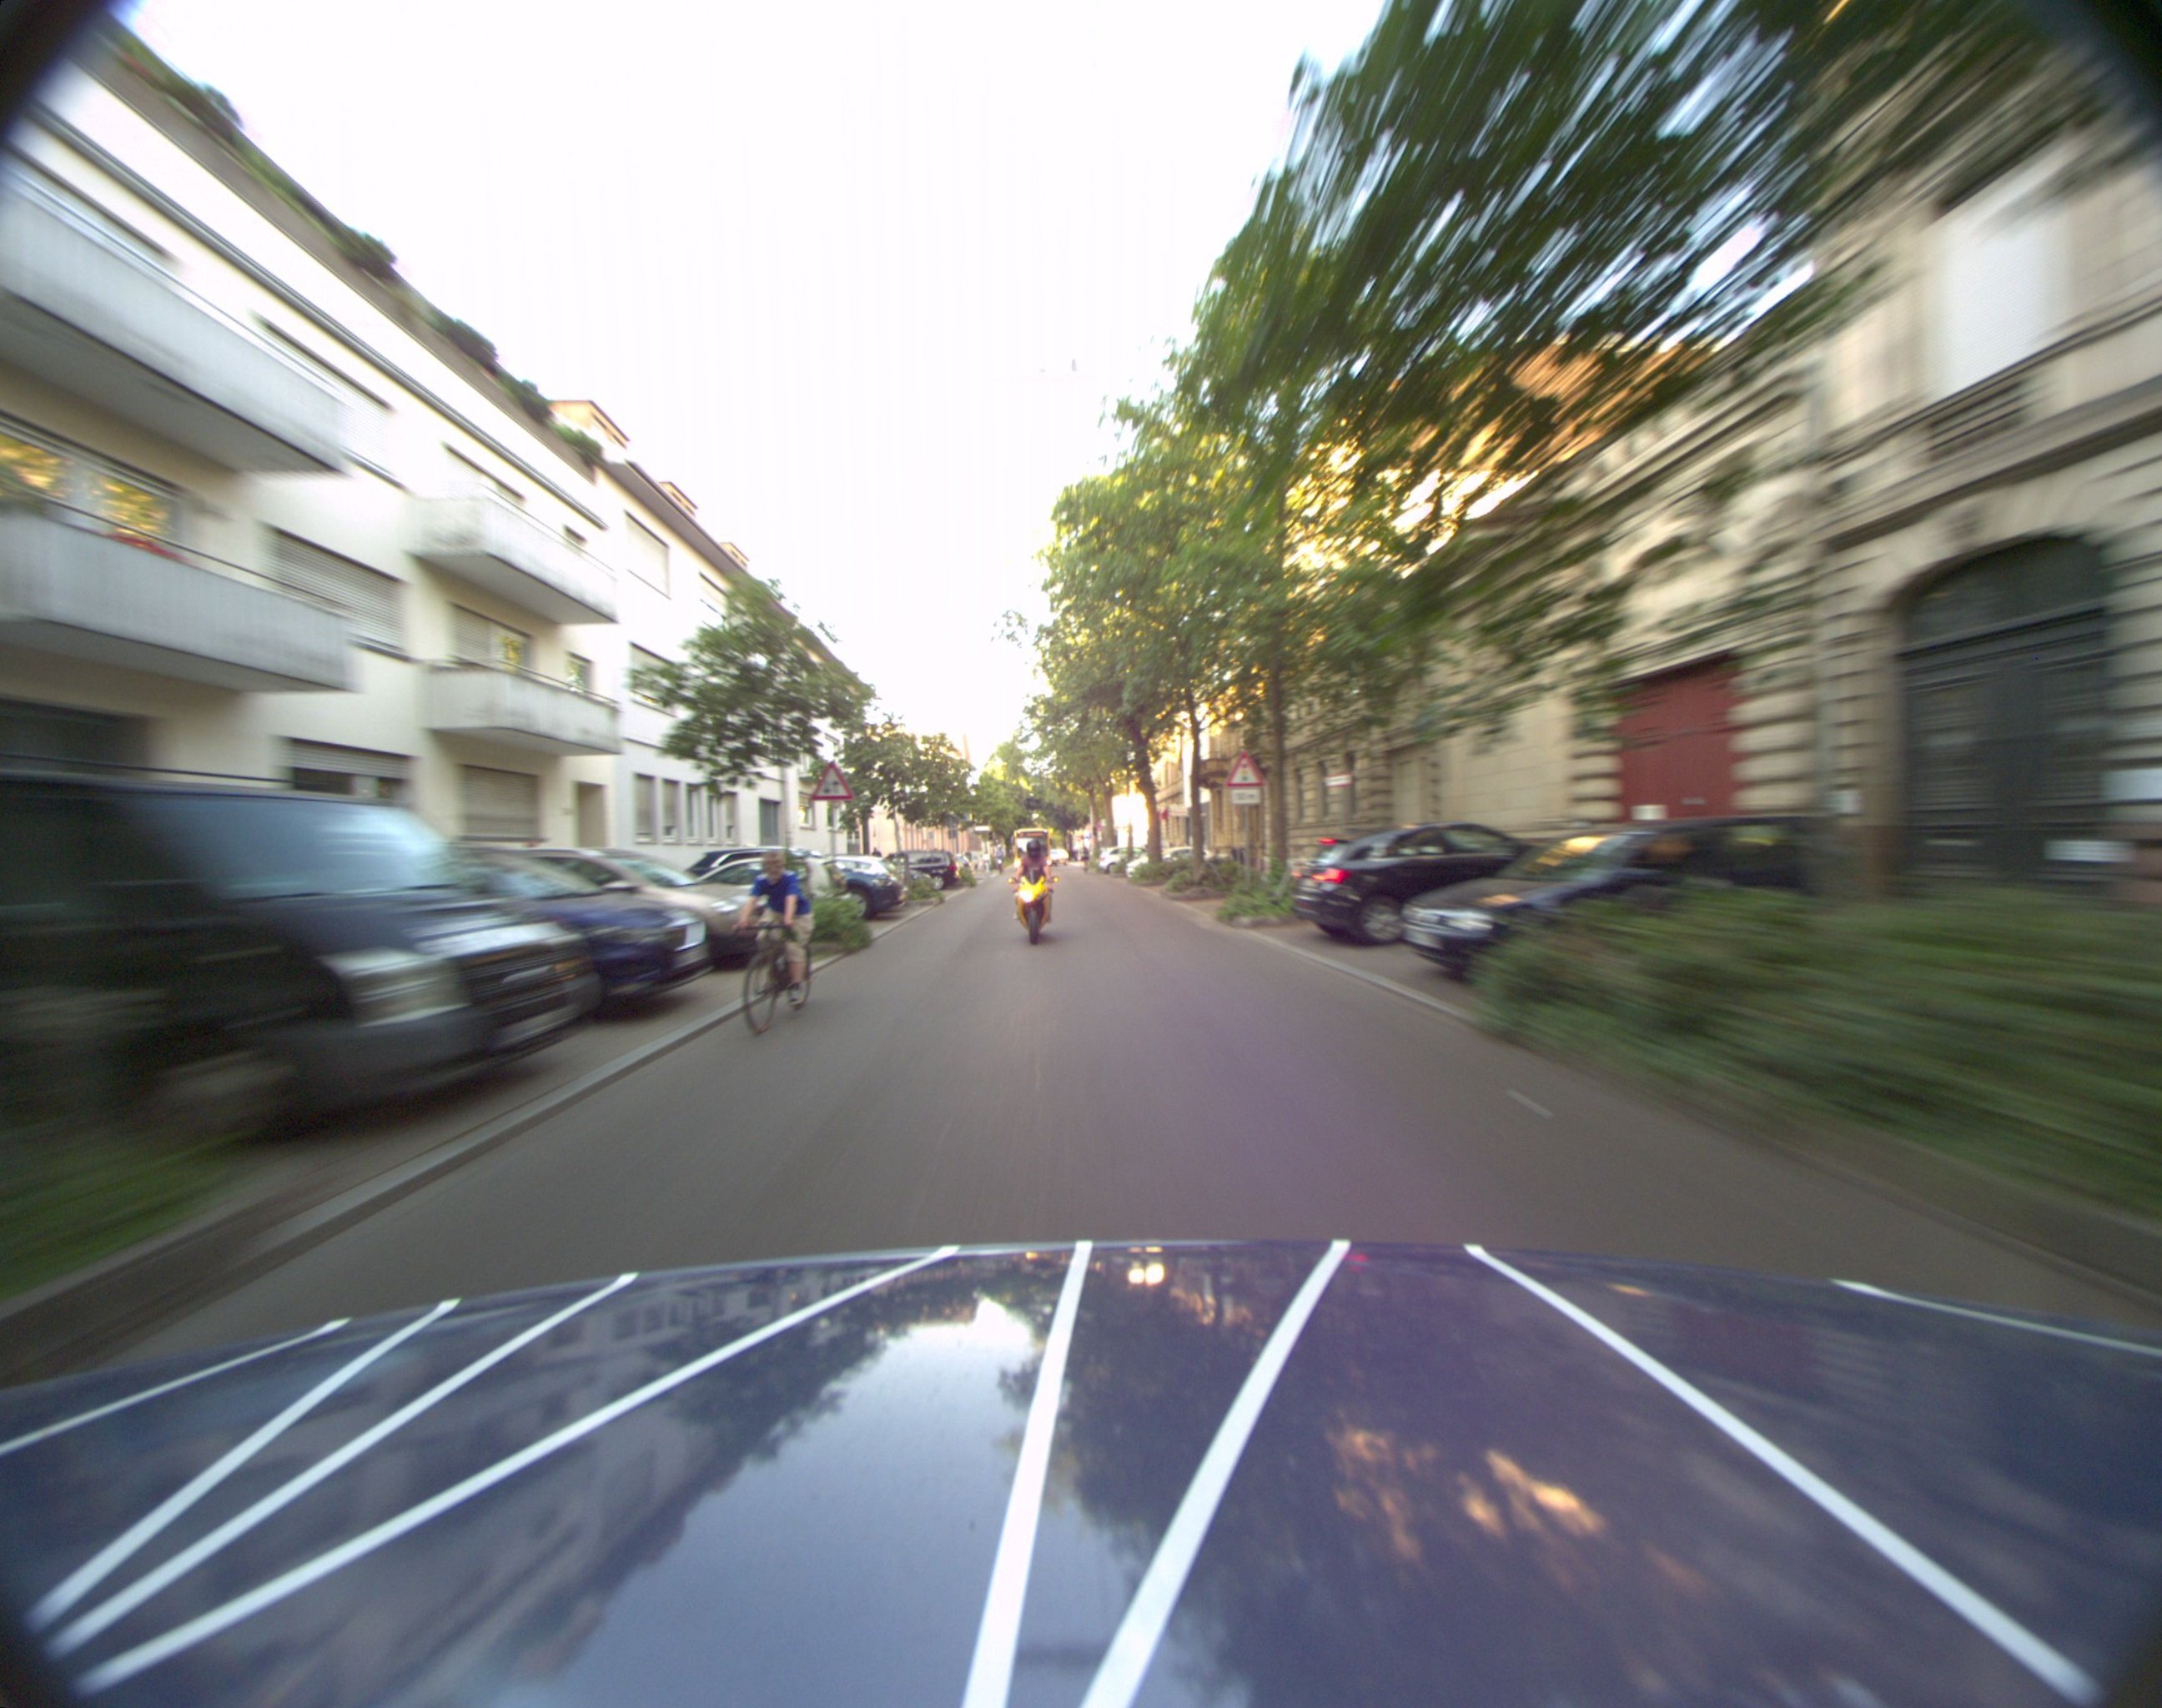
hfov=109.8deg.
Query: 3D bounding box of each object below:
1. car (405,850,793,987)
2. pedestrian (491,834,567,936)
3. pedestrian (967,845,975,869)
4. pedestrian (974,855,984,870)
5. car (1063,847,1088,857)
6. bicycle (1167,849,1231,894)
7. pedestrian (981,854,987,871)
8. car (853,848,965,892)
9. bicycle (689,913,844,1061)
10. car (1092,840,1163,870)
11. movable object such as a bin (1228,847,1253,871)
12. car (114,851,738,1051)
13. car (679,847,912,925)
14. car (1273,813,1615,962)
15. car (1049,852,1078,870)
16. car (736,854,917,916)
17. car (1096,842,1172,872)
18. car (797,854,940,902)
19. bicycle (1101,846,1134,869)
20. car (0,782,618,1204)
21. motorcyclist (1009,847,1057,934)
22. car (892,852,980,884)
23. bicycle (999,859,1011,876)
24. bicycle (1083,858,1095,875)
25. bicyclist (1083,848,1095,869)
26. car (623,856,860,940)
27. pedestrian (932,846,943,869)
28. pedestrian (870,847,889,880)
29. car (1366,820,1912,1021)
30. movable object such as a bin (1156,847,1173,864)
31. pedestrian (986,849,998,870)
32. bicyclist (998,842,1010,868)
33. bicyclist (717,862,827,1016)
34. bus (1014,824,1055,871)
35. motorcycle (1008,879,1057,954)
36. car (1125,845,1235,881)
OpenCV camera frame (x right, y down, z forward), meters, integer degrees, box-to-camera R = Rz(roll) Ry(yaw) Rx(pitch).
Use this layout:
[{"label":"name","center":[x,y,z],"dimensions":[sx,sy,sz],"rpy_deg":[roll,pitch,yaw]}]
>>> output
[{"label":"car","center":[-6.217,0.802,10.227],"dimensions":[3.976,1.569,1.850],"rpy_deg":[2,1,-4]},{"label":"pedestrian","center":[-10.074,0.547,13.901],"dimensions":[0.699,1.785,0.880],"rpy_deg":[-1,1,-2]},{"label":"pedestrian","center":[-8.218,0.249,56.716],"dimensions":[0.544,1.764,0.576],"rpy_deg":[0,1,-1]},{"label":"pedestrian","center":[-7.629,0.636,57.041],"dimensions":[0.491,1.138,0.547],"rpy_deg":[1,1,34]},{"label":"car","center":[-0.890,-0.357,130.910],"dimensions":[4.001,1.699,1.843],"rpy_deg":[-2,1,-11]},{"label":"bicycle","center":[3.458,0.503,22.316],"dimensions":[1.775,1.225,0.500],"rpy_deg":[-2,2,2]},{"label":"pedestrian","center":[-7.229,0.607,56.567],"dimensions":[0.451,1.254,0.489],"rpy_deg":[0,1,-9]},{"label":"car","center":[-6.938,0.622,31.071],"dimensions":[4.121,1.608,1.960],"rpy_deg":[-2,1,-2]},{"label":"bicycle","center":[-2.916,1.182,7.285],"dimensions":[0.674,1.024,1.976],"rpy_deg":[-3,1,-2]},{"label":"car","center":[3.094,0.045,51.225],"dimensions":[4.437,1.712,1.889],"rpy_deg":[-4,1,-5]},{"label":"movable object such as a bin","center":[7.528,0.230,35.886],"dimensions":[0.803,1.055,1.316],"rpy_deg":[-4,1,-3]},{"label":"car","center":[-5.833,0.828,7.304],"dimensions":[4.168,1.569,1.968],"rpy_deg":[2,1,-4]},{"label":"car","center":[-6.386,0.695,17.463],"dimensions":[4.603,1.569,1.943],"rpy_deg":[2,1,-4]},{"label":"car","center":[5.055,0.428,10.945],"dimensions":[3.976,1.587,1.780],"rpy_deg":[-6,1,-3]},{"label":"car","center":[-1.658,0.673,73.399],"dimensions":[1.945,1.561,4.362],"rpy_deg":[-1,2,10]},{"label":"car","center":[-6.525,0.778,19.843],"dimensions":[4.085,1.421,1.817],"rpy_deg":[2,1,-1]},{"label":"car","center":[3.010,0.174,43.704],"dimensions":[4.181,1.548,1.826],"rpy_deg":[-2,1,0]},{"label":"car","center":[-7.039,0.768,25.561],"dimensions":[4.327,1.487,1.793],"rpy_deg":[0,1,-4]},{"label":"bicycle","center":[2.188,0.205,45.224],"dimensions":[1.800,1.319,0.773],"rpy_deg":[-2,1,-9]},{"label":"car","center":[-5.799,0.631,4.568],"dimensions":[4.703,1.999,2.036],"rpy_deg":[2,1,-3]},{"label":"motorcyclist","center":[-0.798,0.603,12.867],"dimensions":[0.737,1.404,0.726],"rpy_deg":[-2,1,-2]},{"label":"car","center":[-7.137,0.671,37.634],"dimensions":[3.998,1.429,1.793],"rpy_deg":[-2,1,-2]},{"label":"bicycle","center":[-4.851,0.849,48.509],"dimensions":[0.637,0.977,1.980],"rpy_deg":[-4,0,-4]},{"label":"bicycle","center":[0.494,0.741,45.639],"dimensions":[0.674,0.988,1.758],"rpy_deg":[-1,0,1]},{"label":"bicyclist","center":[0.474,0.249,45.691],"dimensions":[0.674,1.256,0.648],"rpy_deg":[-1,1,1]},{"label":"car","center":[-6.407,0.810,14.672],"dimensions":[3.803,1.415,1.697],"rpy_deg":[2,1,-4]},{"label":"pedestrian","center":[-11.612,0.270,61.525],"dimensions":[0.699,1.844,1.049],"rpy_deg":[0,1,-4]},{"label":"pedestrian","center":[-10.955,0.493,41.332],"dimensions":[0.699,1.785,1.065],"rpy_deg":[-1,1,-2]},{"label":"car","center":[5.142,0.567,7.397],"dimensions":[3.976,1.379,1.764],"rpy_deg":[-5,0,-2]},{"label":"movable object such as a bin","center":[5.241,0.099,47.789],"dimensions":[0.777,1.055,1.316],"rpy_deg":[-2,1,-3]},{"label":"pedestrian","center":[-6.552,0.401,55.780],"dimensions":[0.600,1.503,0.719],"rpy_deg":[0,1,-32]},{"label":"bicyclist","center":[-4.904,0.068,48.501],"dimensions":[0.637,1.552,0.818],"rpy_deg":[-4,1,-4]},{"label":"bicyclist","center":[-2.935,0.776,7.282],"dimensions":[0.674,1.356,0.776],"rpy_deg":[-3,1,-3]},{"label":"bus","center":[-3.596,-0.521,59.419],"dimensions":[2.669,3.176,11.893],"rpy_deg":[-3,1,-3]},{"label":"motorcycle","center":[-0.790,1.006,12.873],"dimensions":[0.737,1.053,1.963],"rpy_deg":[-2,1,-2]},{"label":"car","center":[4.313,0.361,33.459],"dimensions":[4.525,1.382,1.915],"rpy_deg":[-2,1,-2]}]
